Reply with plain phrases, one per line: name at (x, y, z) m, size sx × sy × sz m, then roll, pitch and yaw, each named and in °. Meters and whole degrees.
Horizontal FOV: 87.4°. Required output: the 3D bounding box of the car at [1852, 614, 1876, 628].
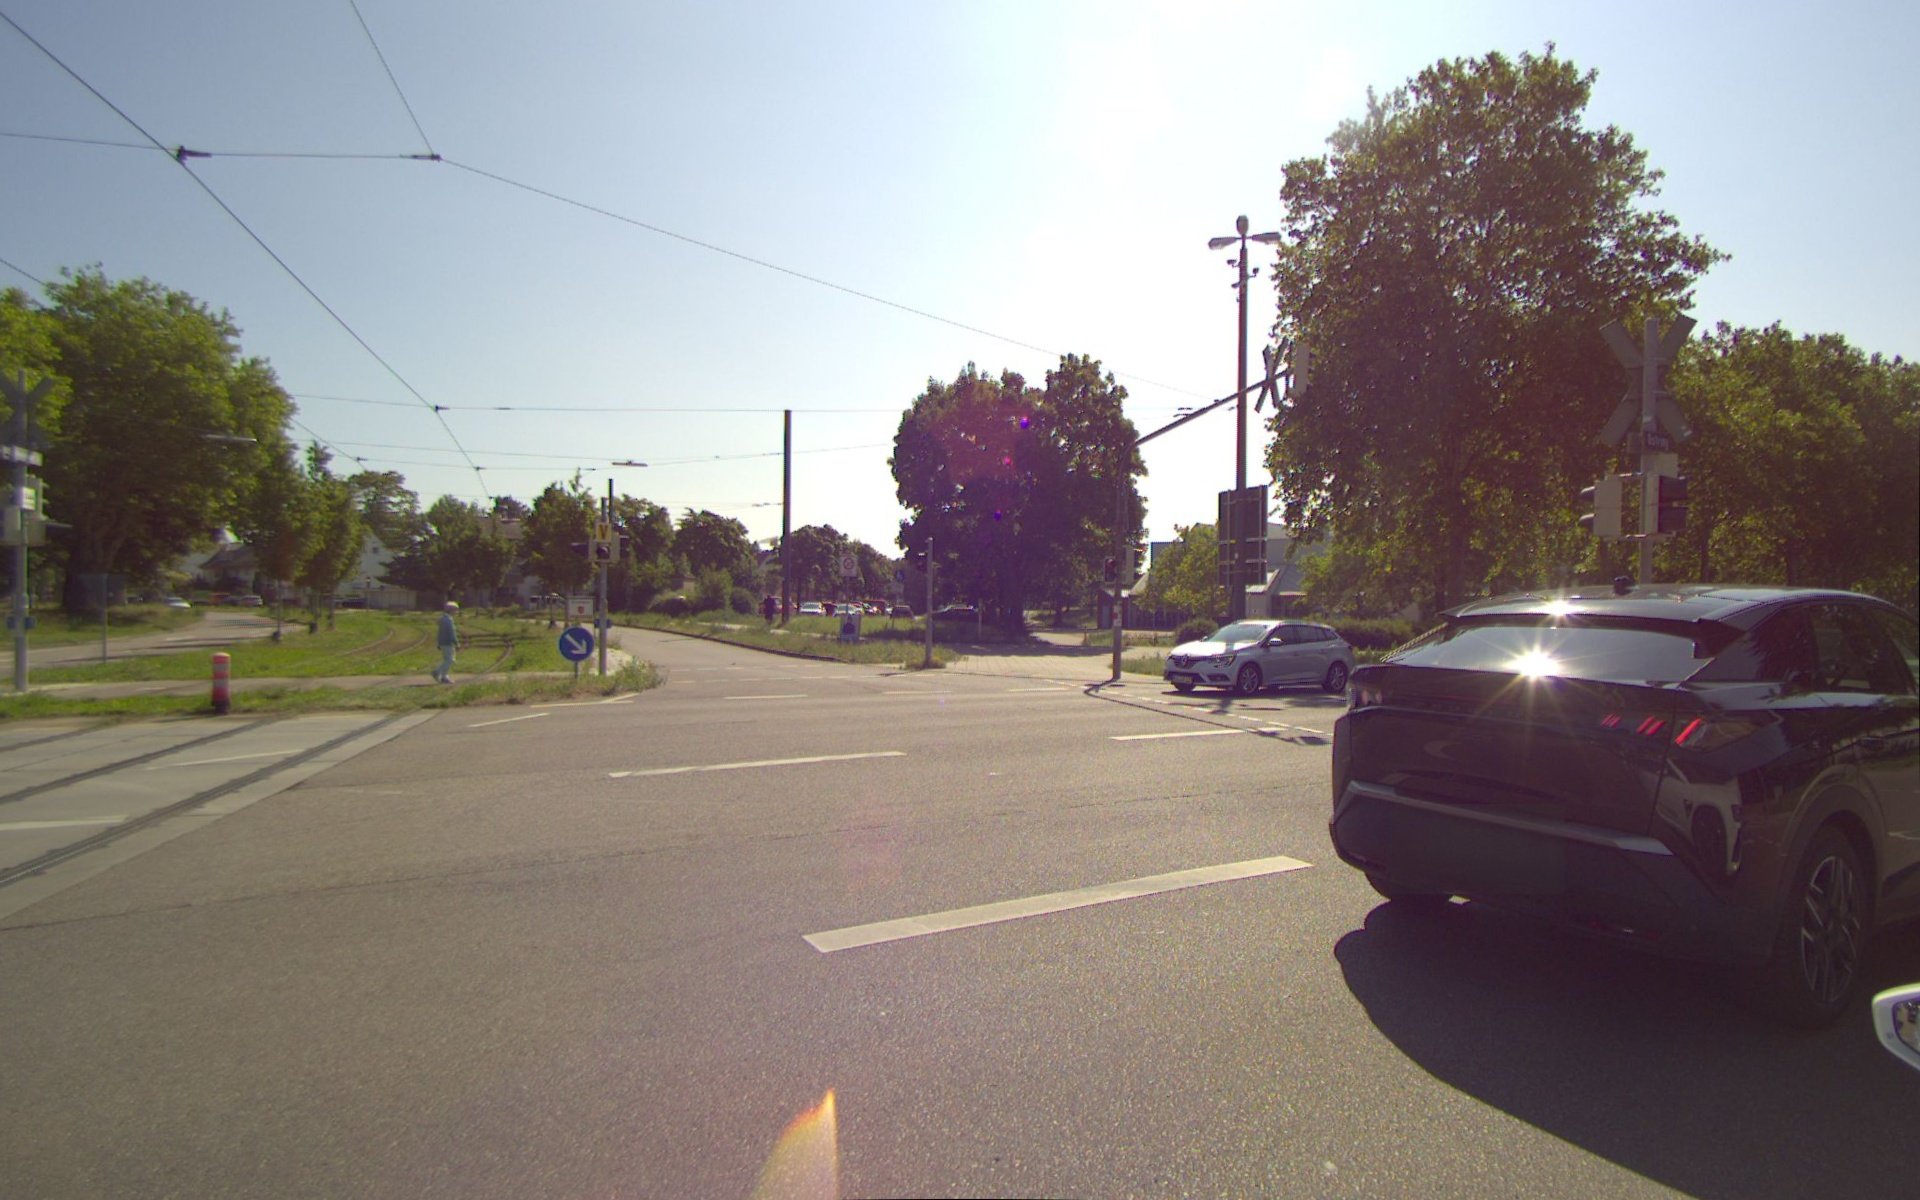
car at (103.630, 2.350, 115.146) m, size 4.366 × 1.576 × 1.777 m, roll 1°, pitch -1°, yaw -44°

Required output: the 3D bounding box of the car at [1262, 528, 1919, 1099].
car at (3.746, 0.690, 4.980) m, size 4.385 × 1.719 × 1.862 m, roll 1°, pitch -1°, yaw -31°

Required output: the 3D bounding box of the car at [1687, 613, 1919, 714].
car at (14.482, 0.997, 17.120) m, size 4.074 × 1.528 × 1.688 m, roll 0°, pitch 0°, yaw -26°

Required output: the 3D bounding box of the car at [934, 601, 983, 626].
car at (-0.134, 1.083, 82.469) m, size 3.924 × 2.040 × 1.816 m, roll 0°, pitch 0°, yaw -6°

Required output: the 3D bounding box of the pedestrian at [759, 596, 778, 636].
pedestrian at (-9.807, 0.821, 51.526) m, size 0.704 × 2.040 × 0.788 m, roll 0°, pitch 0°, yaw -33°

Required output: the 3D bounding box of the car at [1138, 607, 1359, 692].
car at (5.849, 0.904, 20.123) m, size 4.611 × 1.528 × 1.684 m, roll 0°, pitch 0°, yaw -33°

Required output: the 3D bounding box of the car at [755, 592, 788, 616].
car at (-14.285, 0.289, 76.314) m, size 1.779 × 1.725 × 3.987 m, roll 0°, pitch 0°, yaw 0°

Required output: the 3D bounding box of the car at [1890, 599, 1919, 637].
car at (69.306, 1.308, 72.855) m, size 7.163 × 2.648 × 2.042 m, roll 1°, pitch -2°, yaw -42°

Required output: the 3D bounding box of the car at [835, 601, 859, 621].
car at (-8.582, 0.843, 76.233) m, size 1.420 × 1.466 × 3.341 m, roll 0°, pitch 0°, yaw 0°

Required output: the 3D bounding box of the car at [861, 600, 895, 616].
car at (-9.333, 0.913, 114.564) m, size 3.854 × 1.863 × 1.769 m, roll 0°, pitch 0°, yaw -5°

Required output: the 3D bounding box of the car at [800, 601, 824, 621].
car at (-11.185, 0.840, 76.148) m, size 1.322 × 1.466 × 3.341 m, roll 0°, pitch 0°, yaw 0°

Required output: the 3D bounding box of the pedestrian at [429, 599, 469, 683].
pedestrian at (-9.701, 0.772, 19.093) m, size 0.660 × 1.582 × 0.364 m, roll 0°, pitch 0°, yaw -25°
